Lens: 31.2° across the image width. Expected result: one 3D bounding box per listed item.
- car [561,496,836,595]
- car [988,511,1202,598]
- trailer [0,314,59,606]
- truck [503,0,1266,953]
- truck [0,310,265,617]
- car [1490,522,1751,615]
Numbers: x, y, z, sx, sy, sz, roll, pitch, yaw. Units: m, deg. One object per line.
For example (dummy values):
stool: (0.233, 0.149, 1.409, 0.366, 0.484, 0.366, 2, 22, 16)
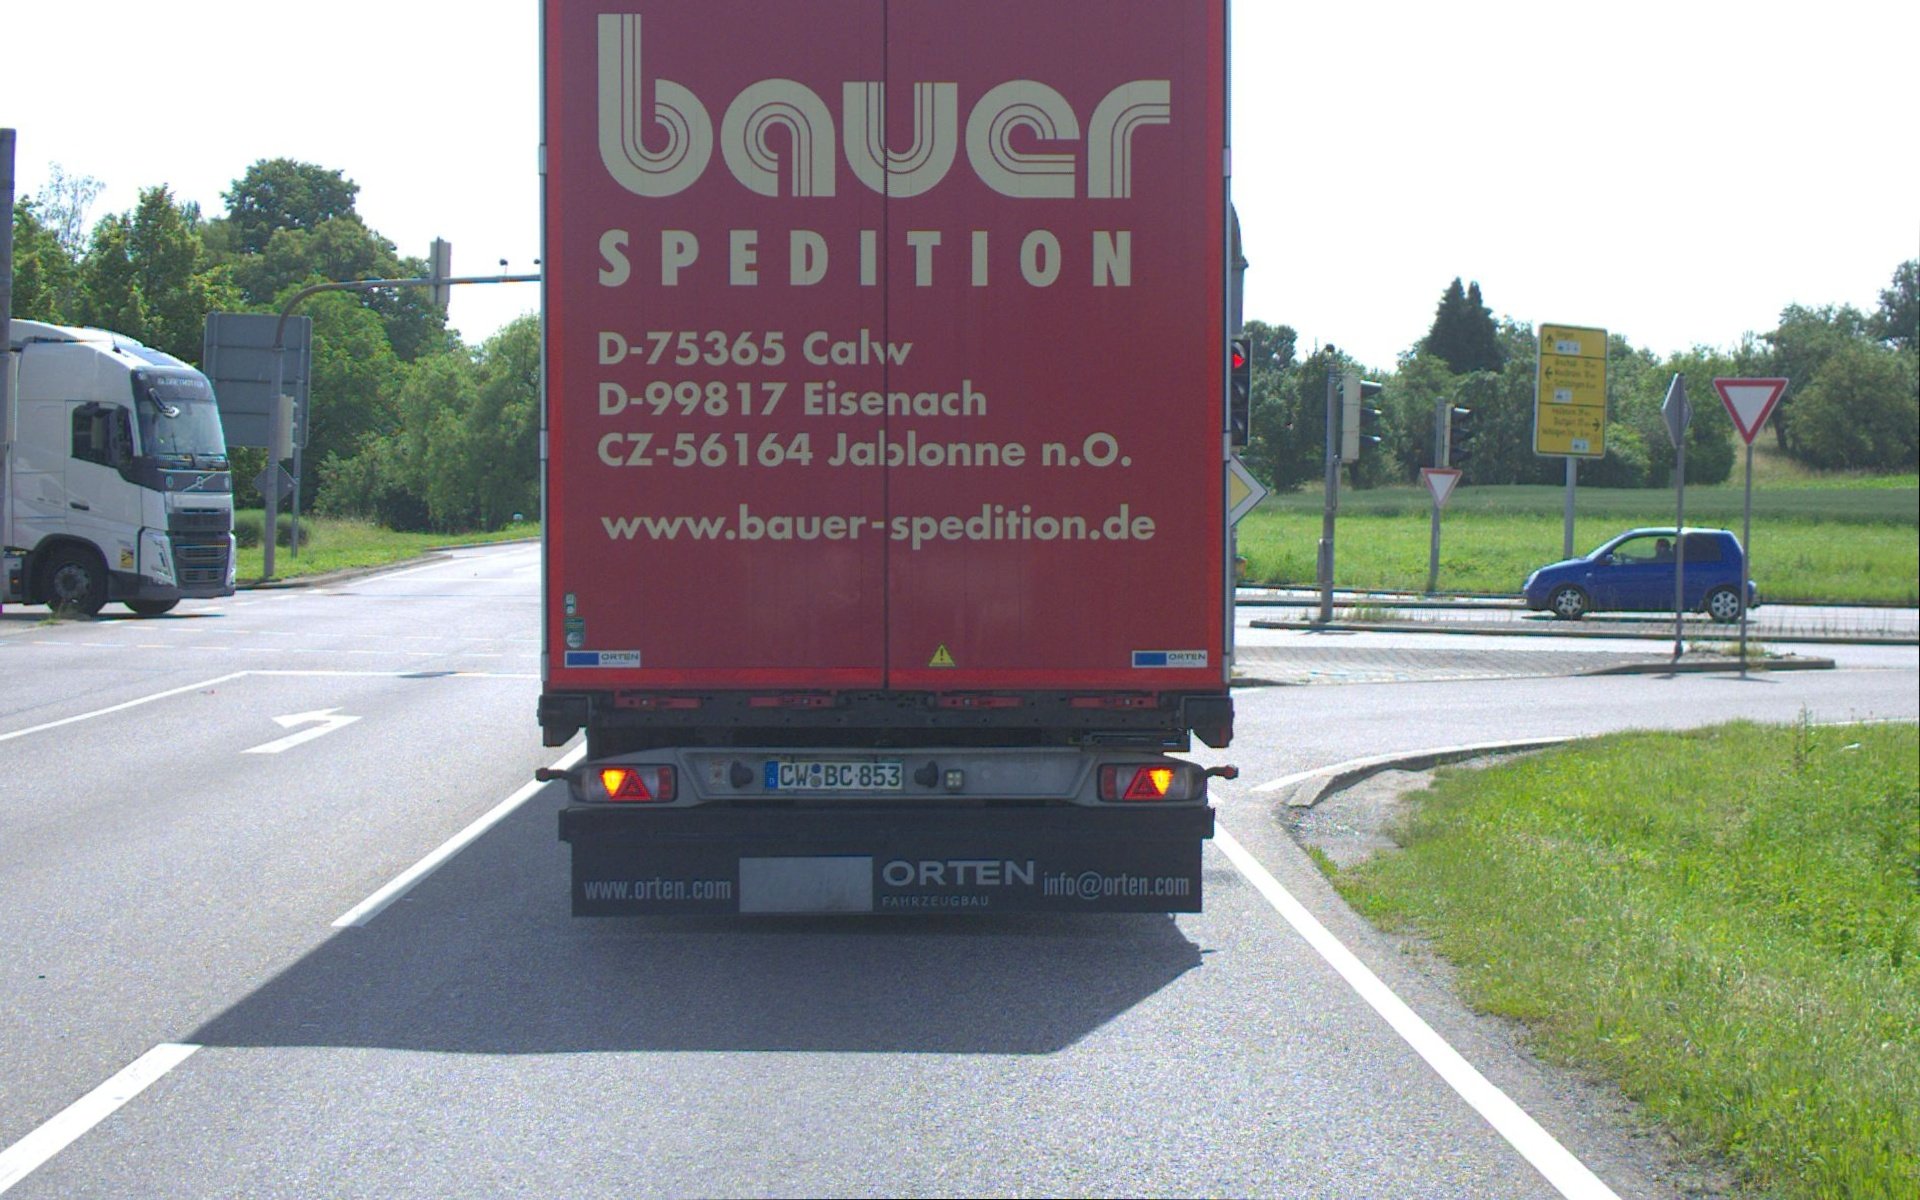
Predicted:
car: (-4.257, -0.889, 56.221, 4.101, 1.542, 1.872, 1, 0, 12)
car: (2.639, -0.899, 67.977, 1.695, 1.650, 4.285, 0, 0, -43)
trailer: (-19.712, -2.106, 49.982, 13.698, 4.047, 2.795, 2, 2, 21)
truck: (-0.362, -0.901, 20.758, 2.734, 3.911, 16.627, 0, 1, -1)
truck: (-12.917, -1.914, 47.543, 5.830, 4.047, 2.796, 1, 2, 17)
car: (10.113, -0.489, 52.583, 3.850, 1.352, 1.675, 1, 1, 13)
